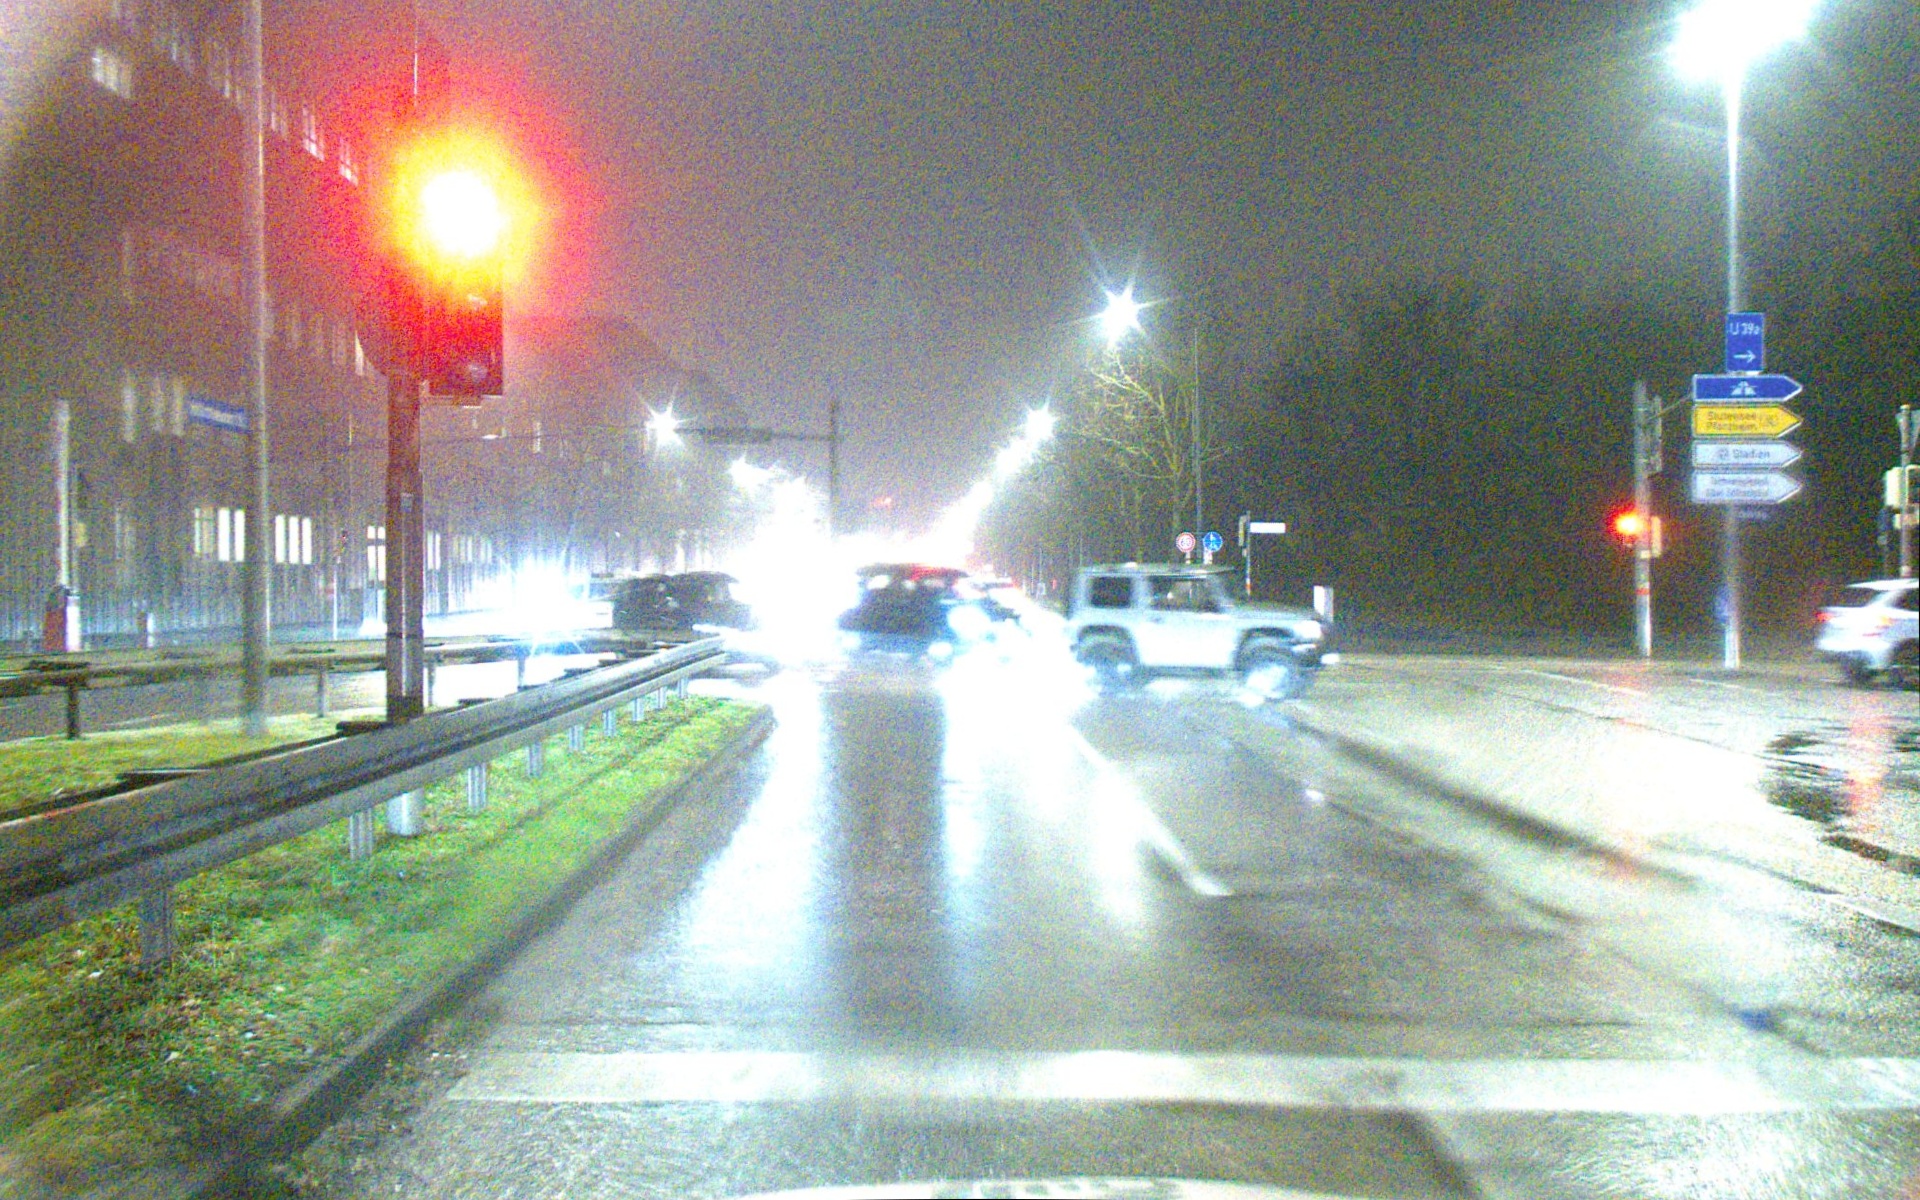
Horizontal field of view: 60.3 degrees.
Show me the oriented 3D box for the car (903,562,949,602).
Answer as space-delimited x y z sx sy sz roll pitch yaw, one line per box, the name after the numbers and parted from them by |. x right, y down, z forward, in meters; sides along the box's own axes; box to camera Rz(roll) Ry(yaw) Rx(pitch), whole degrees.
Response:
-1.993 -1.010 95.301 2.393 2.232 5.075 1 0 -4 | car

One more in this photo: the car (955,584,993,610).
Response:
0.829 -0.176 103.107 2.050 1.572 4.303 1 0 -4 | car

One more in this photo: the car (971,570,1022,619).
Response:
1.643 -0.227 72.658 1.995 2.049 4.309 0 0 4 | car

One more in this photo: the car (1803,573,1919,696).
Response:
14.636 0.497 23.527 4.353 1.700 1.841 0 -1 7 | car

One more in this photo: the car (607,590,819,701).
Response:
-4.234 0.707 27.780 1.934 1.702 4.367 1 -1 -33 | car

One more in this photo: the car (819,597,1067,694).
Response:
-0.367 0.780 30.242 4.433 1.646 1.897 0 -1 42 | car

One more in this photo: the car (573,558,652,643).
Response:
-8.738 0.026 41.761 1.666 2.049 3.561 1 0 -8 | car

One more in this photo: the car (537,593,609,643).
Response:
-12.351 0.568 52.904 1.665 1.543 3.565 1 0 -4 | car

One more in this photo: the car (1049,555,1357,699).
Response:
3.201 0.331 21.807 3.678 1.764 1.722 0 -1 25 | car
